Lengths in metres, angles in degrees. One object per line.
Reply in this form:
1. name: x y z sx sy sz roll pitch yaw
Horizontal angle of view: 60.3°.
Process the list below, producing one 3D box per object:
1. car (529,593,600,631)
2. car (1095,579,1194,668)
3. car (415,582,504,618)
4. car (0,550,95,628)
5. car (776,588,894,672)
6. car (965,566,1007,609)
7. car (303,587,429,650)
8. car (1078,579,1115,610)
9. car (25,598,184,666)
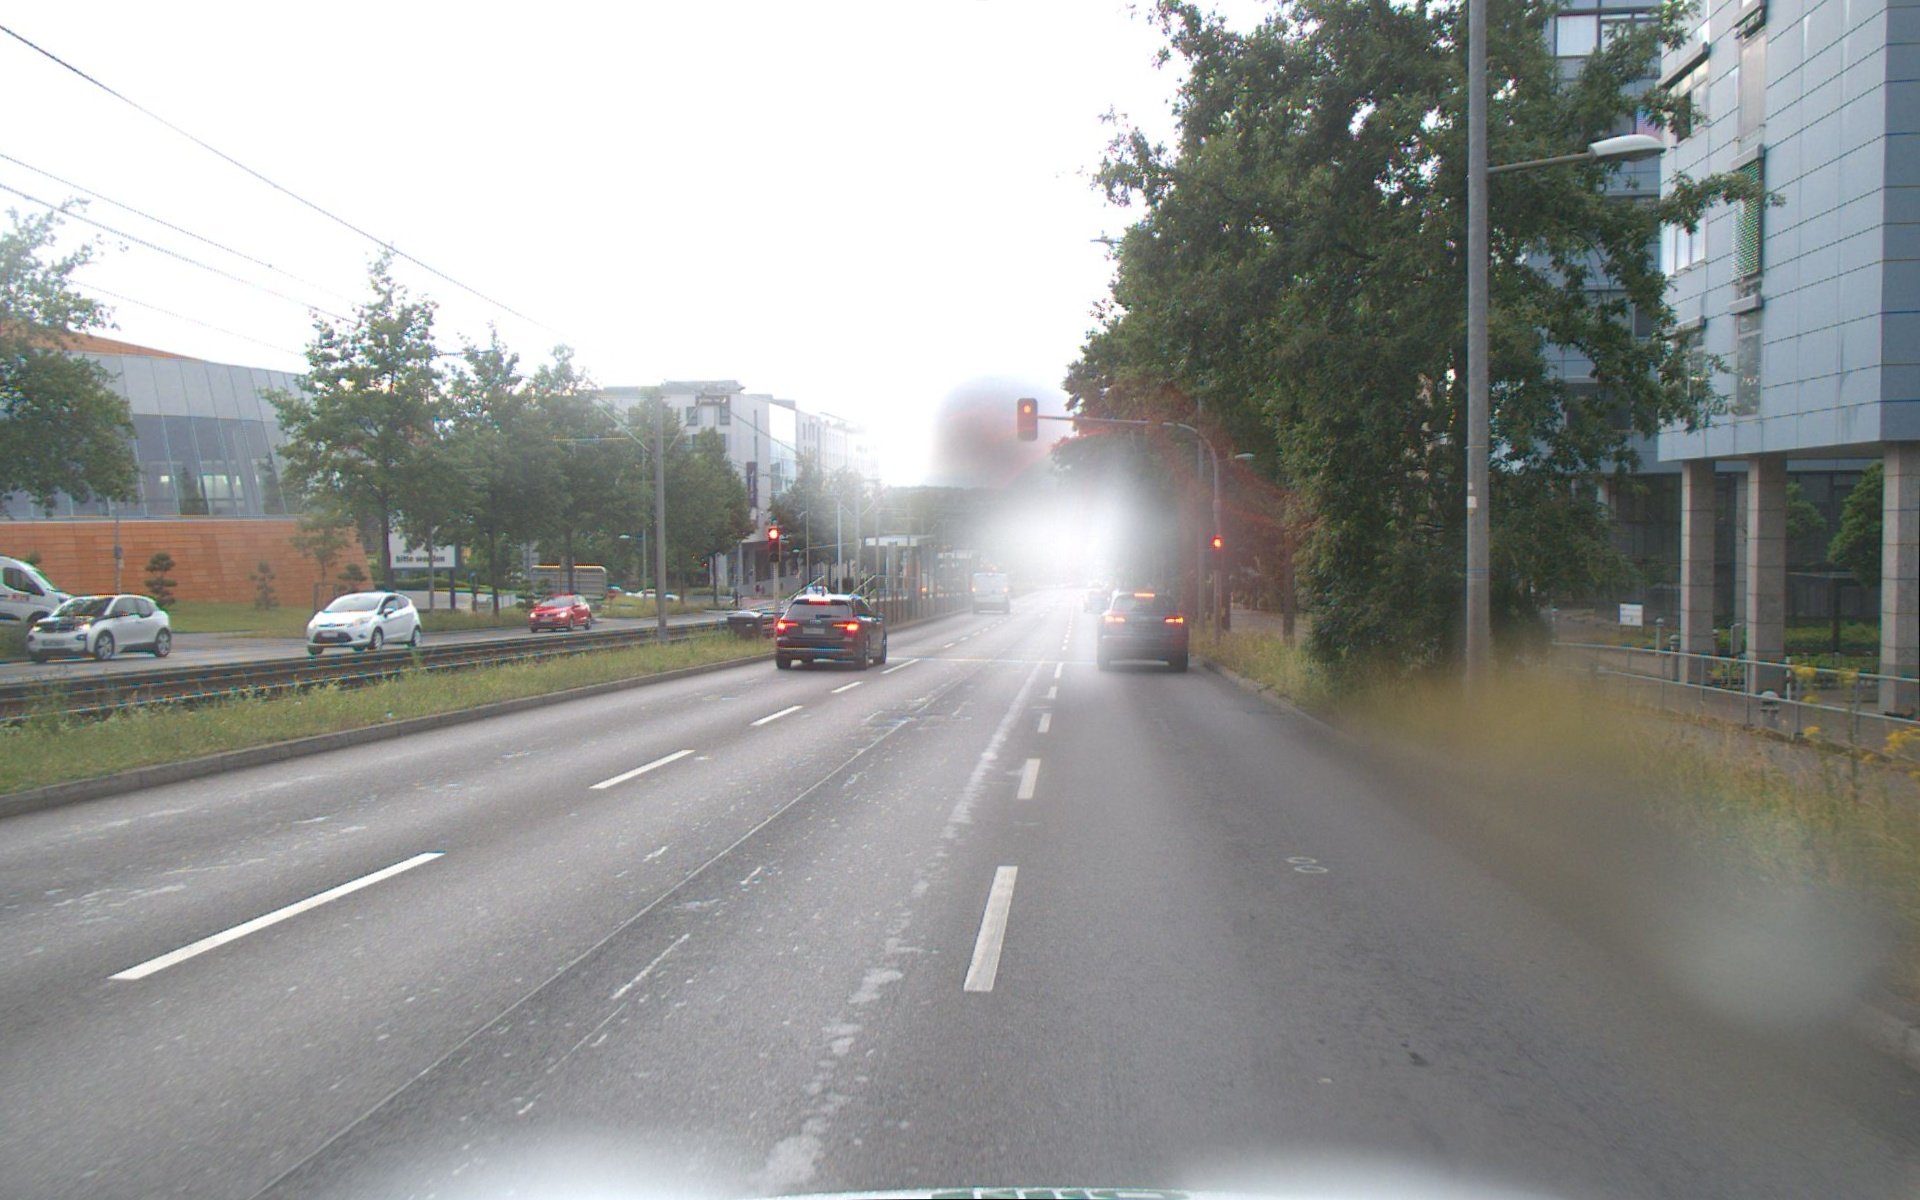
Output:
1. car: -15.861 0.456 66.468 1.627 1.467 3.899 1 0 5
2. car: 3.828 0.476 34.829 1.882 1.740 4.100 1 0 4
3. car: -27.463 -0.027 90.862 4.233 1.841 2.099 1 2 0
4. car: -31.325 -0.364 53.463 5.546 2.475 2.258 1 0 -16
5. car: -2.420 0.538 33.142 1.748 1.438 4.809 1 2 3
6. car: 1.441 -0.752 94.194 2.222 2.324 4.759 1 2 -1
7. car: -14.656 0.429 40.990 1.628 1.467 3.897 1 0 1
8. car: 8.578 -0.377 103.620 2.005 1.772 4.578 1 2 8
9. car: -20.965 0.737 40.718 1.627 1.571 3.899 1 0 5
